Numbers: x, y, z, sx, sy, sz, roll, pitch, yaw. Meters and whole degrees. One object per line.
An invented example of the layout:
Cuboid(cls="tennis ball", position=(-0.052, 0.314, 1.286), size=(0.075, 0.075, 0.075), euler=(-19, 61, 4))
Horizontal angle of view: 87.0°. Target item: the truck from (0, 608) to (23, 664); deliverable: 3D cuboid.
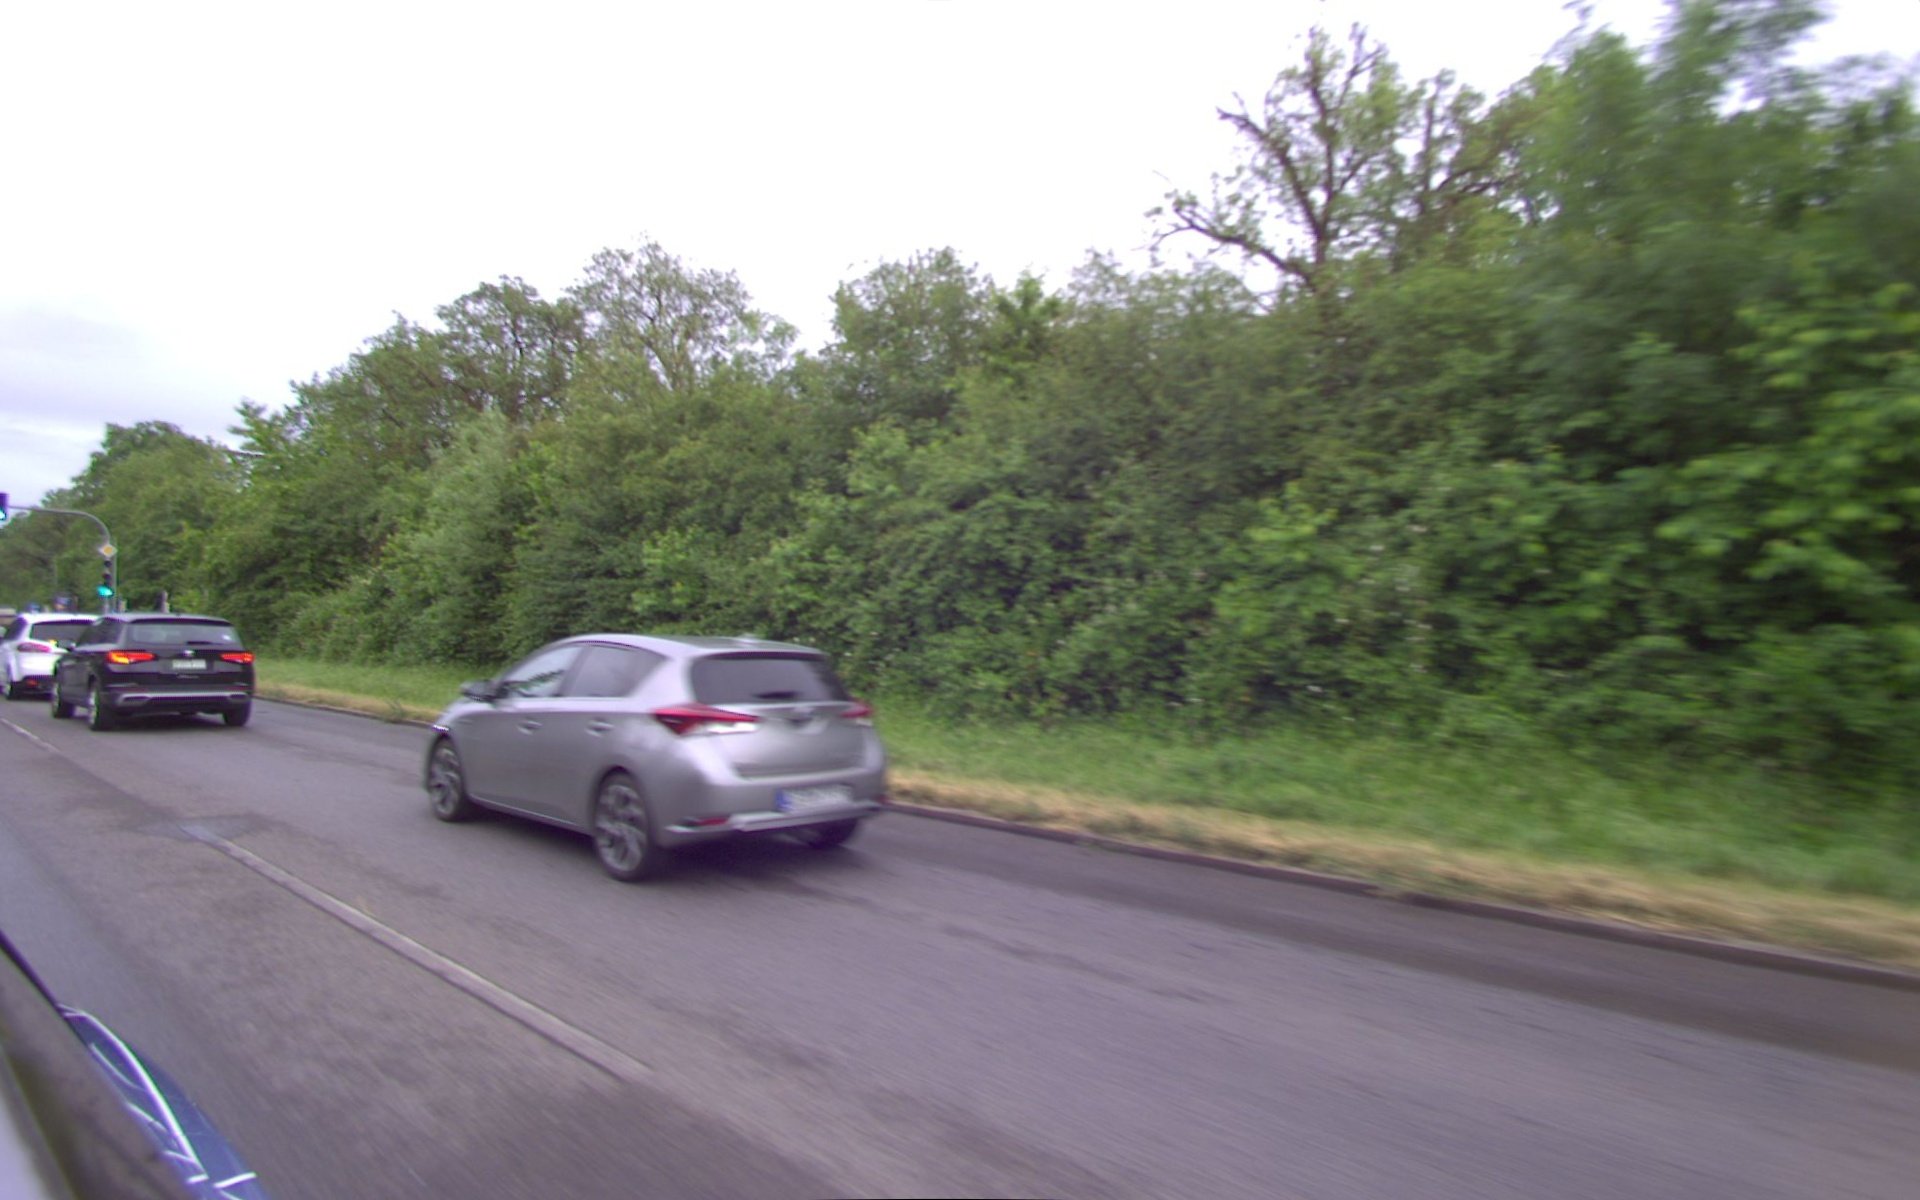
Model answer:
Cuboid(cls="truck", position=(-45.828, 1.665, 47.481), size=(2.446, 2.528, 5.640), euler=(4, -4, -45))

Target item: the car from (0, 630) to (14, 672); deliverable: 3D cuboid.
Cuboid(cls="car", position=(-36.012, 1.832, 36.815), size=(3.998, 1.490, 1.906), euler=(-1, -4, 41))

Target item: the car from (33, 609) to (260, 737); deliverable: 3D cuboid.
Cuboid(cls="car", position=(-11.901, 0.986, 14.709), size=(4.278, 1.606, 1.715), euler=(-1, -3, 40))

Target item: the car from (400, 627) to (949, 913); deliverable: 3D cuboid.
Cuboid(cls="car", position=(-2.221, 0.937, 7.207), size=(4.177, 1.443, 1.783), euler=(-1, -4, 42))

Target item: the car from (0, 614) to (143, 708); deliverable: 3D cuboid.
Cuboid(cls="car", position=(-17.674, 1.142, 19.750), size=(4.267, 1.647, 1.875), euler=(-1, -4, 40))
